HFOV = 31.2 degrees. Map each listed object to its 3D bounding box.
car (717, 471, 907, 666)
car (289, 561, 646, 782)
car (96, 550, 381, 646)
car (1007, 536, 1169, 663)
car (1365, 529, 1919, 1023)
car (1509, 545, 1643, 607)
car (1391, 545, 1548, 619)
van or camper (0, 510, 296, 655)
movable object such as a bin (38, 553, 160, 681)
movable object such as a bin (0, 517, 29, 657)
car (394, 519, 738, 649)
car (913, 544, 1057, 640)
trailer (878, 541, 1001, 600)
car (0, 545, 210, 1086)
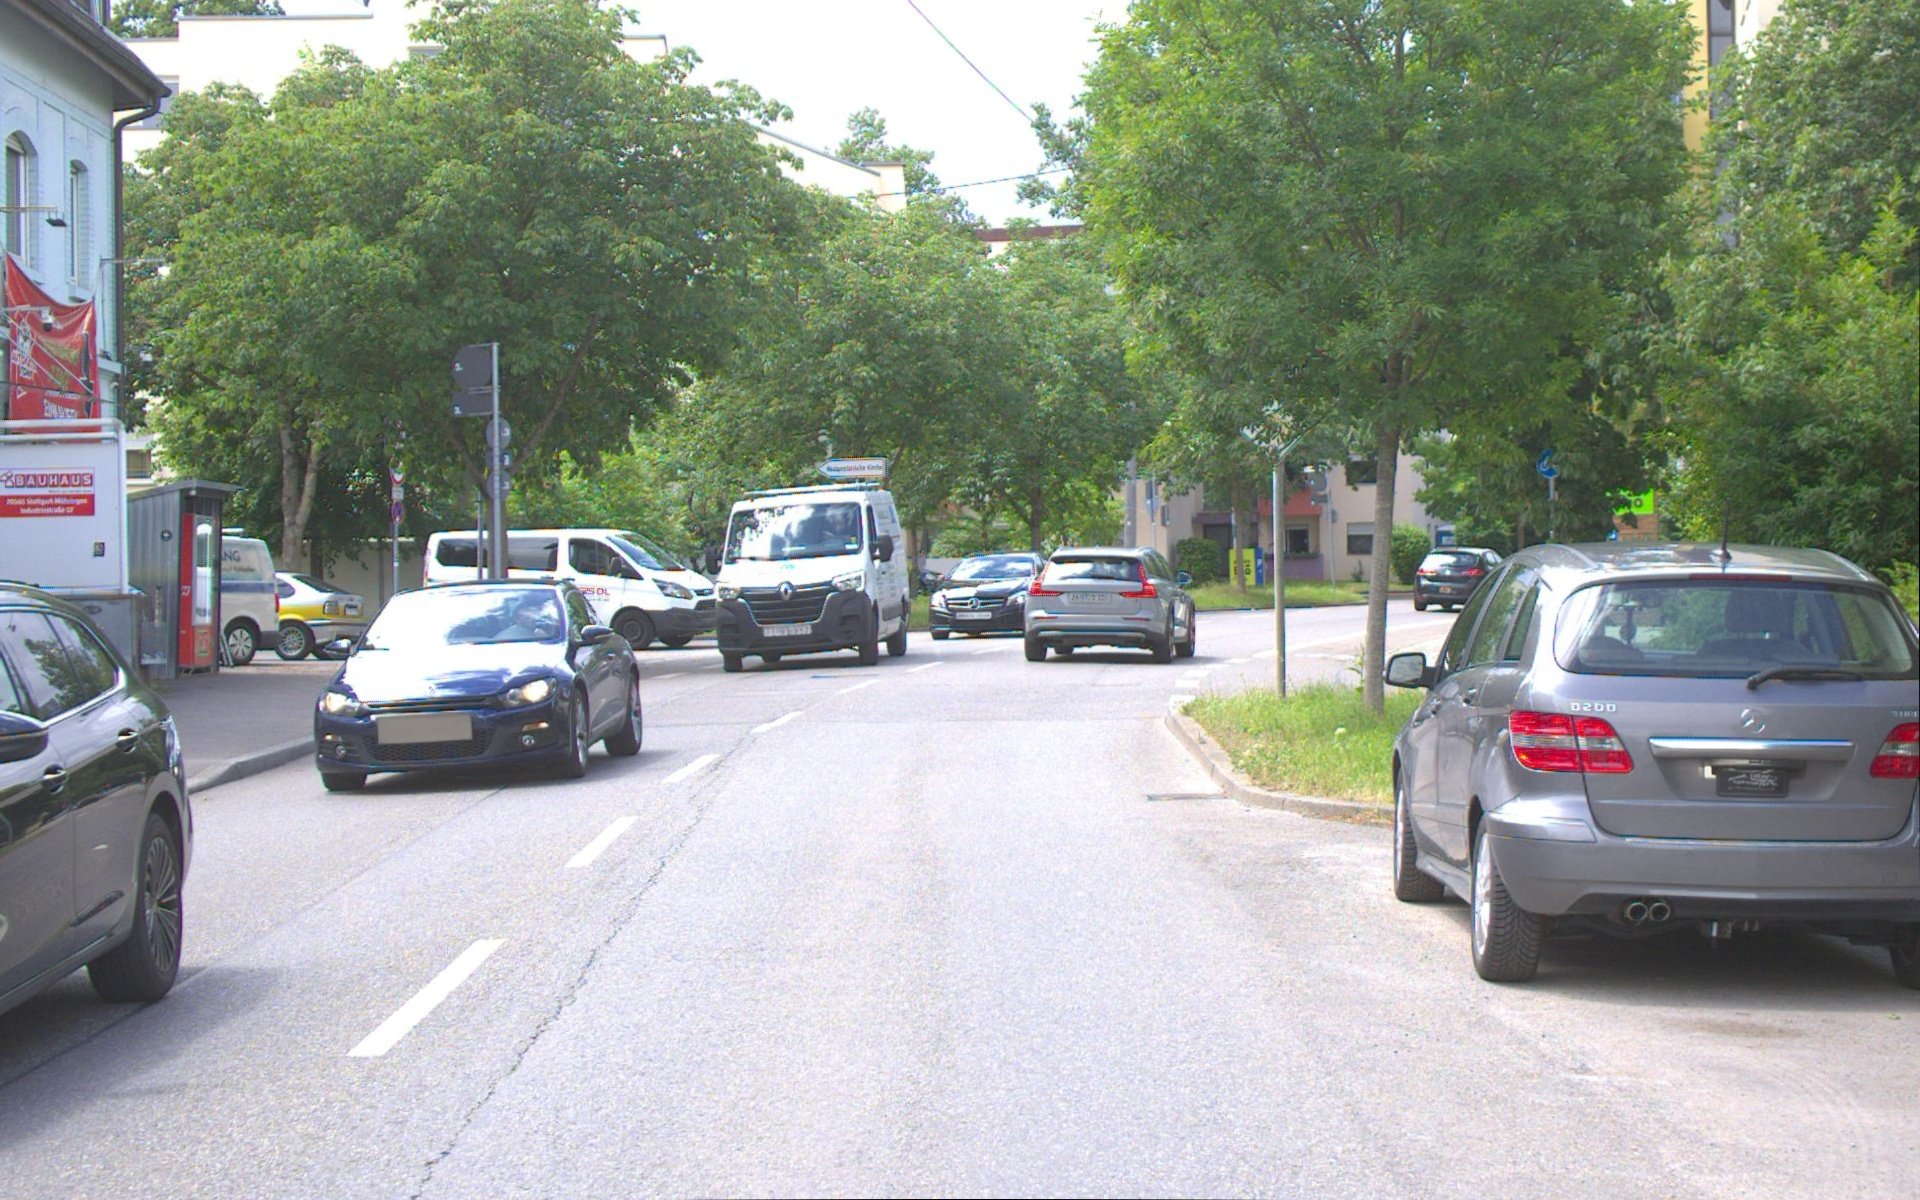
[{"bbox_3d":[-1.875,-0.434,45.328,2.063,2.345,5.183,-2,1,2],"label":"car"},{"bbox_3d":[-3.426,0.462,24.646,1.770,1.421,4.109,-1,0,3],"label":"car"},{"bbox_3d":[-11.437,-0.029,54.598,4.018,1.408,1.815,1,-1,12],"label":"car"},{"bbox_3d":[1.689,0.016,44.583,1.956,1.518,4.328,1,-1,3],"label":"car"},{"bbox_3d":[2.708,0.553,13.927,1.690,1.660,4.462,0,1,1],"label":"car"},{"bbox_3d":[18.886,-0.732,105.287,1.809,1.611,4.317,4,1,44],"label":"car"},{"bbox_3d":[11.467,-0.394,77.147,1.808,1.518,4.321,4,2,33],"label":"car"},{"bbox_3d":[-11.950,-0.223,50.196,1.788,1.987,4.370,0,-1,35],"label":"van or camper"},{"bbox_3d":[-9.431,0.185,37.702,1.020,1.350,1.247,2,-1,-2],"label":"movable object such as a bin"},{"bbox_3d":[-8.910,-0.133,31.550,0.564,1.268,0.563,3,0,-5],"label":"movable object such as a bin"},{"bbox_3d":[-6.505,-0.260,56.890,5.216,1.987,2.107,-1,0,18],"label":"car"},{"bbox_3d":[0.458,-0.130,57.410,1.687,1.477,4.225,-3,0,10],"label":"car"},{"bbox_3d":[-0.695,-1.012,118.142,3.909,1.793,1.629,2,-3,13],"label":"trailer"},{"bbox_3d":[-3.624,0.644,10.401,1.776,1.518,4.462,-3,0,-1],"label":"car"}]
